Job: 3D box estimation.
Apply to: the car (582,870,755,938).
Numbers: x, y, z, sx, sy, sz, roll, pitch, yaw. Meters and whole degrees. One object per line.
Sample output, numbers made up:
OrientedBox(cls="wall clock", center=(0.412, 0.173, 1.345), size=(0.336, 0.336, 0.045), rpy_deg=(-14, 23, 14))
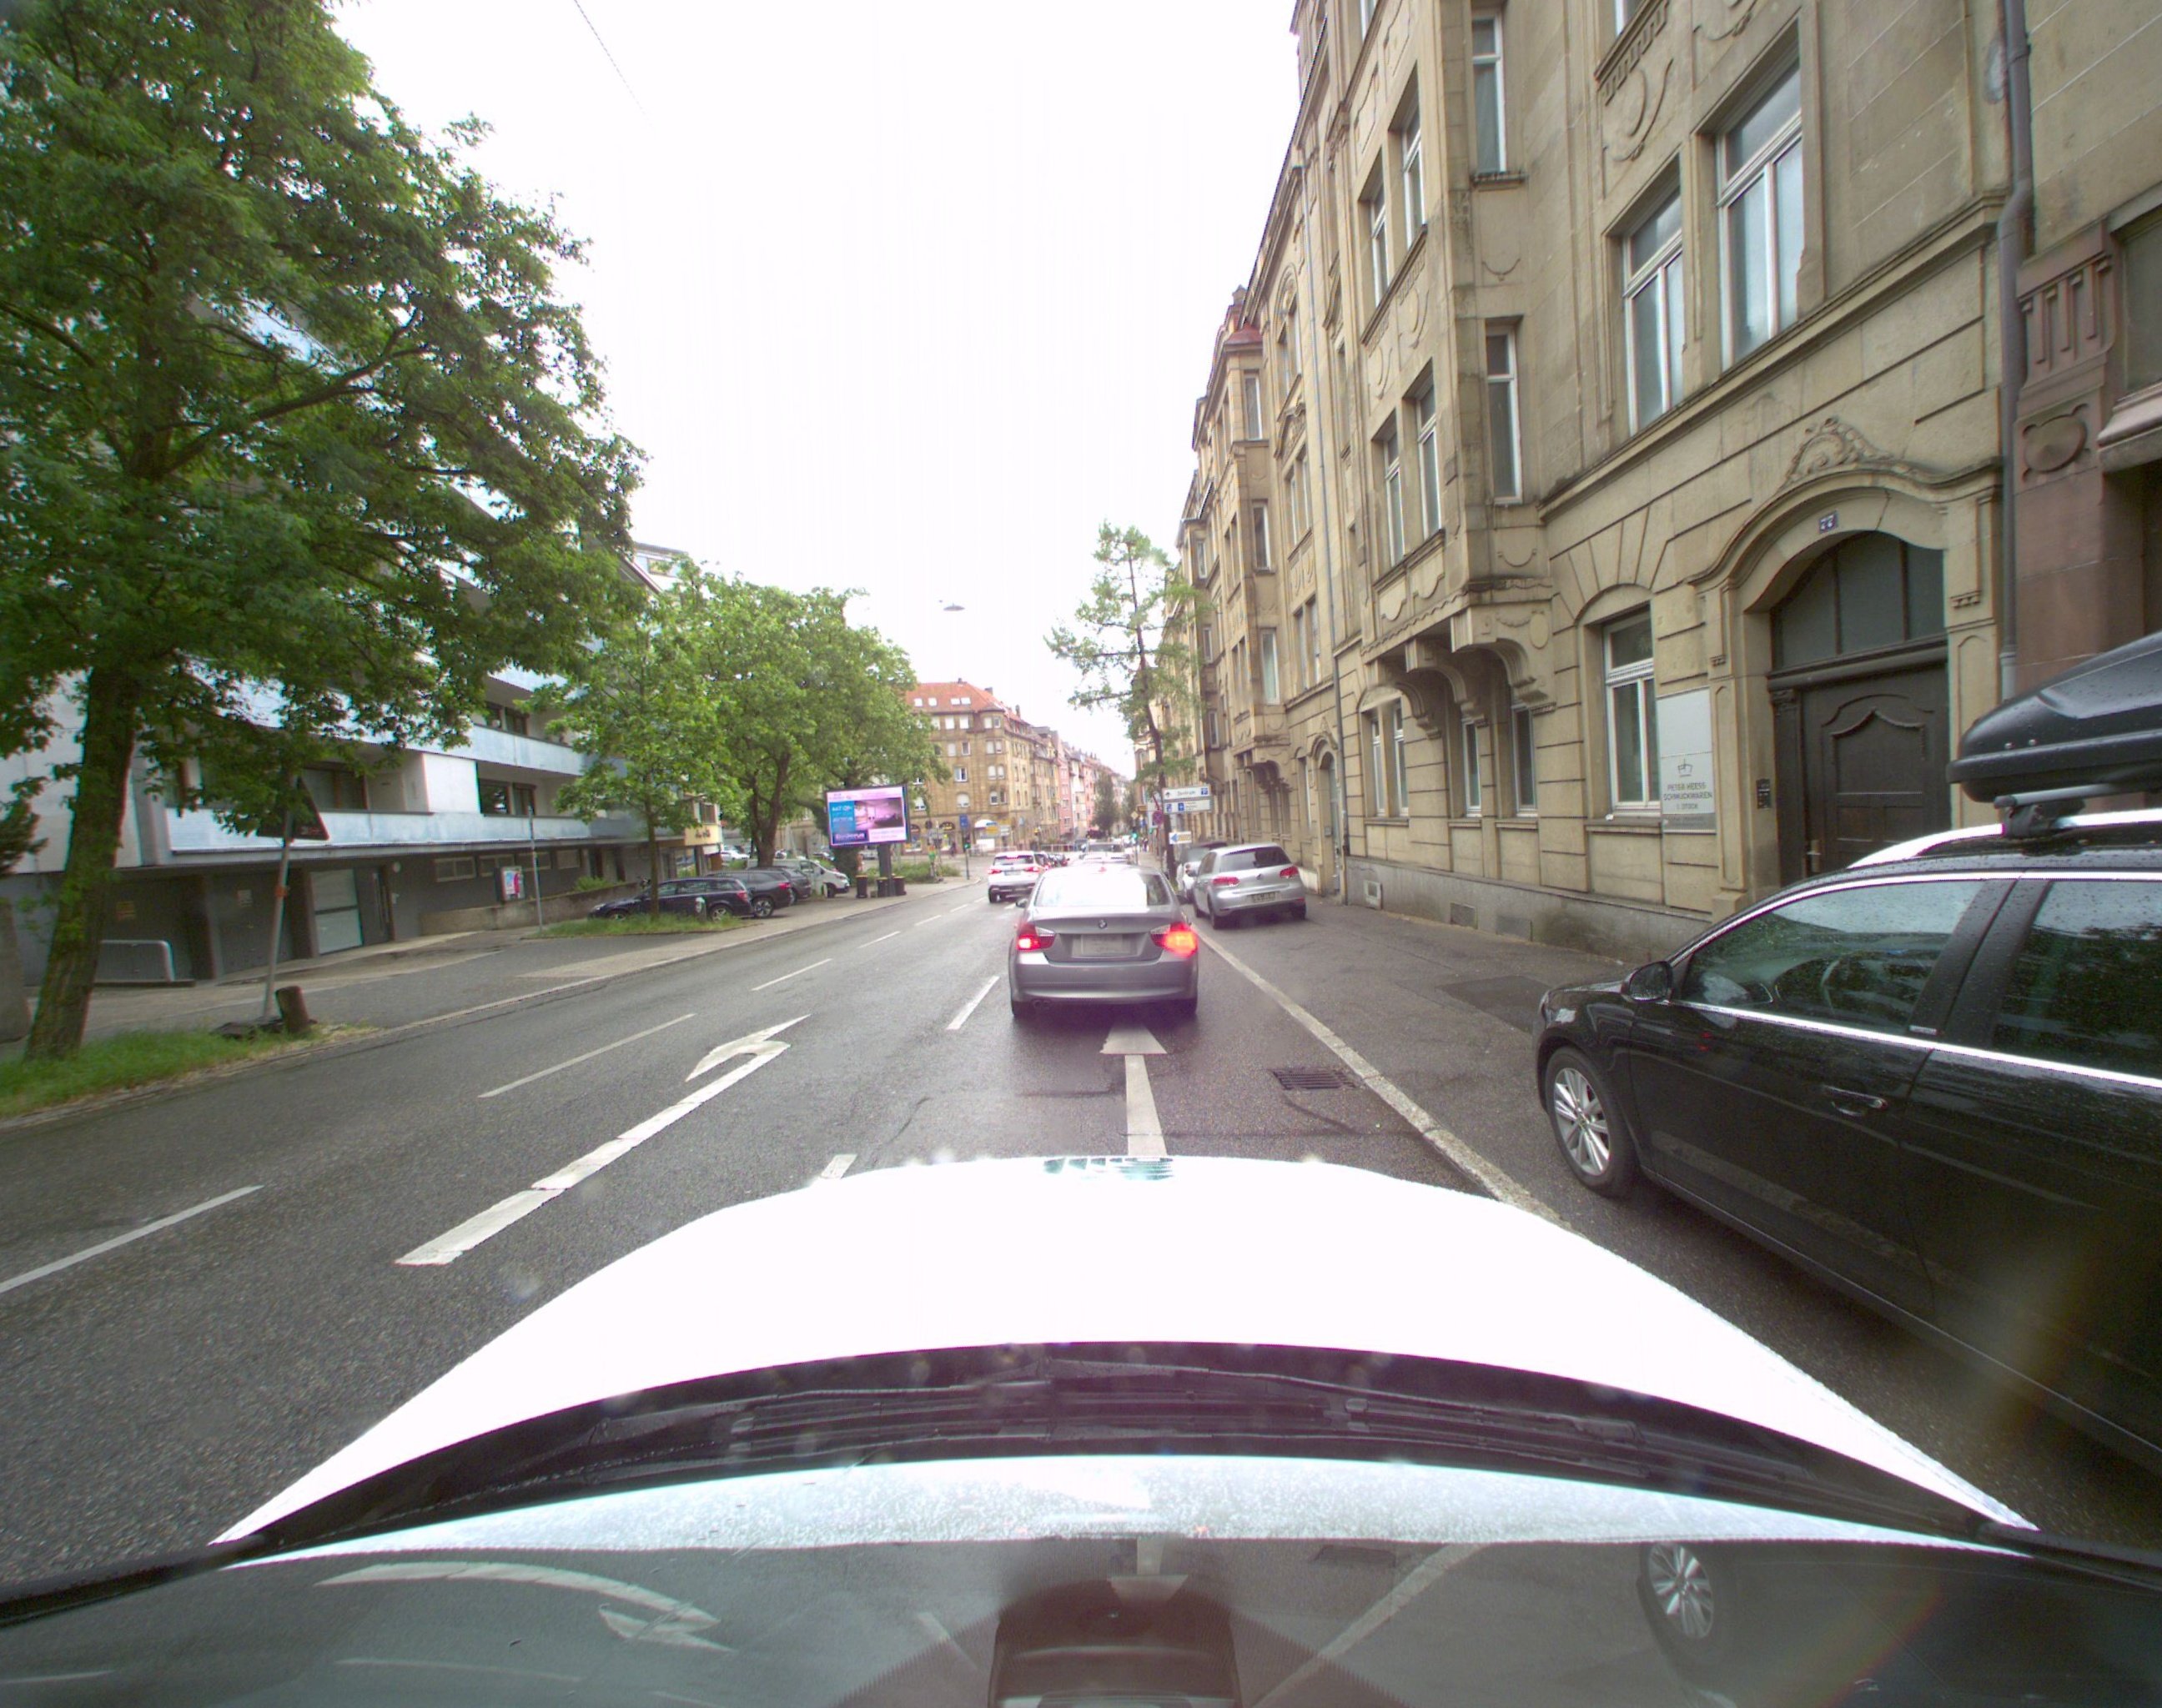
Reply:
OrientedBox(cls="car", center=(-12.265, 1.443, 24.560), size=(4.373, 1.574, 1.930), rpy_deg=(-4, 0, -21))

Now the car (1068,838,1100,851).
OrientedBox(cls="car", center=(0.510, -1.517, 129.879), size=(5.158, 2.014, 2.699), rpy_deg=(0, -1, 1))

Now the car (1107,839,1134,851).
OrientedBox(cls="car", center=(5.562, -1.286, 114.248), size=(1.974, 1.578, 4.025), rpy_deg=(-1, -1, 34))

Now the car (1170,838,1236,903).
OrientedBox(cls="car", center=(3.352, 0.417, 22.755), size=(1.295, 1.543, 2.977), rpy_deg=(-7, 0, 1))

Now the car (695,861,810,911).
OrientedBox(cls="car", center=(-13.908, 1.326, 34.784), size=(4.370, 1.784, 1.927), rpy_deg=(-3, 0, -19))

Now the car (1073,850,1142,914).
OrientedBox(cls="car", center=(0.730, 0.642, 20.978), size=(1.588, 1.464, 4.003), rpy_deg=(-1, 0, 3))

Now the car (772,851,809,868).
OrientedBox(cls="car", center=(-37.016, 0.653, 103.737), size=(4.238, 2.101, 2.013), rpy_deg=(0, 2, 30))

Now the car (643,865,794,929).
OrientedBox(cls="car", center=(-11.996, 1.380, 27.285), size=(4.382, 1.672, 1.842), rpy_deg=(-4, 0, -21))

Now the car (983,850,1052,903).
OrientedBox(cls="car", center=(-2.093, 0.701, 27.894), size=(1.861, 1.625, 4.001), rpy_deg=(-2, 0, 1))

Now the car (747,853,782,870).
OrientedBox(cls="car", center=(-41.345, 0.963, 106.267), size=(4.238, 2.101, 2.013), rpy_deg=(0, 2, 30))

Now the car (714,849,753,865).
OrientedBox(cls="car", center=(-40.722, 0.369, 95.424), size=(4.195, 1.726, 2.013), rpy_deg=(-2, 3, 31))

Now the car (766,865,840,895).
OrientedBox(cls="car", center=(-16.175, 1.495, 47.475), size=(3.984, 1.450, 1.758), rpy_deg=(-3, 0, -19))

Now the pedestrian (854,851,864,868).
OrientedBox(cls="pedestrian", center=(-21.116, 0.518, 77.497), size=(0.533, 1.577, 0.722), rpy_deg=(-6, 1, 13))

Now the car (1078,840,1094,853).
OrientedBox(cls="car", center=(0.629, -0.867, 99.496), size=(1.709, 1.450, 3.743), rpy_deg=(-3, 0, 1))

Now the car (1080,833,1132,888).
OrientedBox(cls="car", center=(1.038, 0.271, 33.909), size=(1.986, 2.106, 4.002), rpy_deg=(-2, 0, 2))

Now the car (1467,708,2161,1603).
OrientedBox(cls="car", center=(2.795, 0.458, 1.966), size=(1.753, 1.651, 4.101), rpy_deg=(-7, 0, 2))

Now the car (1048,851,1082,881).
OrientedBox(cls="car", center=(-0.960, 0.722, 50.307), size=(1.752, 1.707, 4.003), rpy_deg=(-2, 0, 3))

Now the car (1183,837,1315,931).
OrientedBox(cls="car", center=(3.203, 0.517, 16.342), size=(1.753, 1.451, 4.001), rpy_deg=(-7, 0, 1))

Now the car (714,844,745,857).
OrientedBox(cls="car", center=(-47.099, -0.482, 109.013), size=(3.949, 1.689, 1.738), rpy_deg=(-1, -1, 29))

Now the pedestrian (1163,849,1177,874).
OrientedBox(cls="pedestrian", center=(5.453, 0.456, 50.101), size=(0.629, 1.508, 0.693), rpy_deg=(-7, 0, 1))

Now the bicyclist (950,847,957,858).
OrientedBox(cls="bicyclist", center=(-14.852, -0.188, 95.147), size=(0.565, 1.273, 0.692), rpy_deg=(-1, -1, 14))

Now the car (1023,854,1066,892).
OrientedBox(cls="car", center=(-1.782, 0.916, 41.155), size=(1.752, 1.707, 4.003), rpy_deg=(-2, 0, 3))

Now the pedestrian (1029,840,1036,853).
OrientedBox(cls="pedestrian", center=(-6.056, -0.937, 101.603), size=(0.727, 1.577, 0.530), rpy_deg=(-3, 0, 10))

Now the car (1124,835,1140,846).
OrientedBox(cls="car", center=(7.608, -2.006, 120.843), size=(1.983, 1.578, 4.008), rpy_deg=(0, -1, 7))

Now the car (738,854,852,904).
OrientedBox(cls="car", center=(-13.981, 1.186, 40.059), size=(5.076, 2.105, 1.979), rpy_deg=(-3, 0, -19))

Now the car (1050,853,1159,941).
OrientedBox(cls="car", center=(0.494, 0.710, 15.459), size=(1.752, 1.383, 4.003), rpy_deg=(-2, 0, 3))

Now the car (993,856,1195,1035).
OrientedBox(cls="car", center=(0.201, 0.766, 8.525), size=(1.617, 1.383, 3.618), rpy_deg=(-2, 0, 3))

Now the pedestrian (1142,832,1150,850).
OrientedBox(cls="pedestrian", center=(7.173, -1.386, 89.477), size=(0.740, 1.910, 0.659), rpy_deg=(-3, 0, 1))

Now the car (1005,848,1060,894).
OrientedBox(cls="car", center=(-1.939, 0.638, 33.393), size=(1.752, 1.707, 4.003), rpy_deg=(-2, 0, 3))

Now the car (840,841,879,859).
OrientedBox(cls="car", center=(-26.563, -0.520, 97.536), size=(4.238, 2.101, 2.013), rpy_deg=(0, 2, 30))

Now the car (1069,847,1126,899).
OrientedBox(cls="car", center=(0.631, 0.575, 27.595), size=(1.752, 1.567, 4.003), rpy_deg=(-2, 0, 3))

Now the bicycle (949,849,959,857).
OrientedBox(cls="bicycle", center=(-14.846, -0.085, 95.154), size=(0.569, 0.858, 1.527), rpy_deg=(-1, -1, 13))
